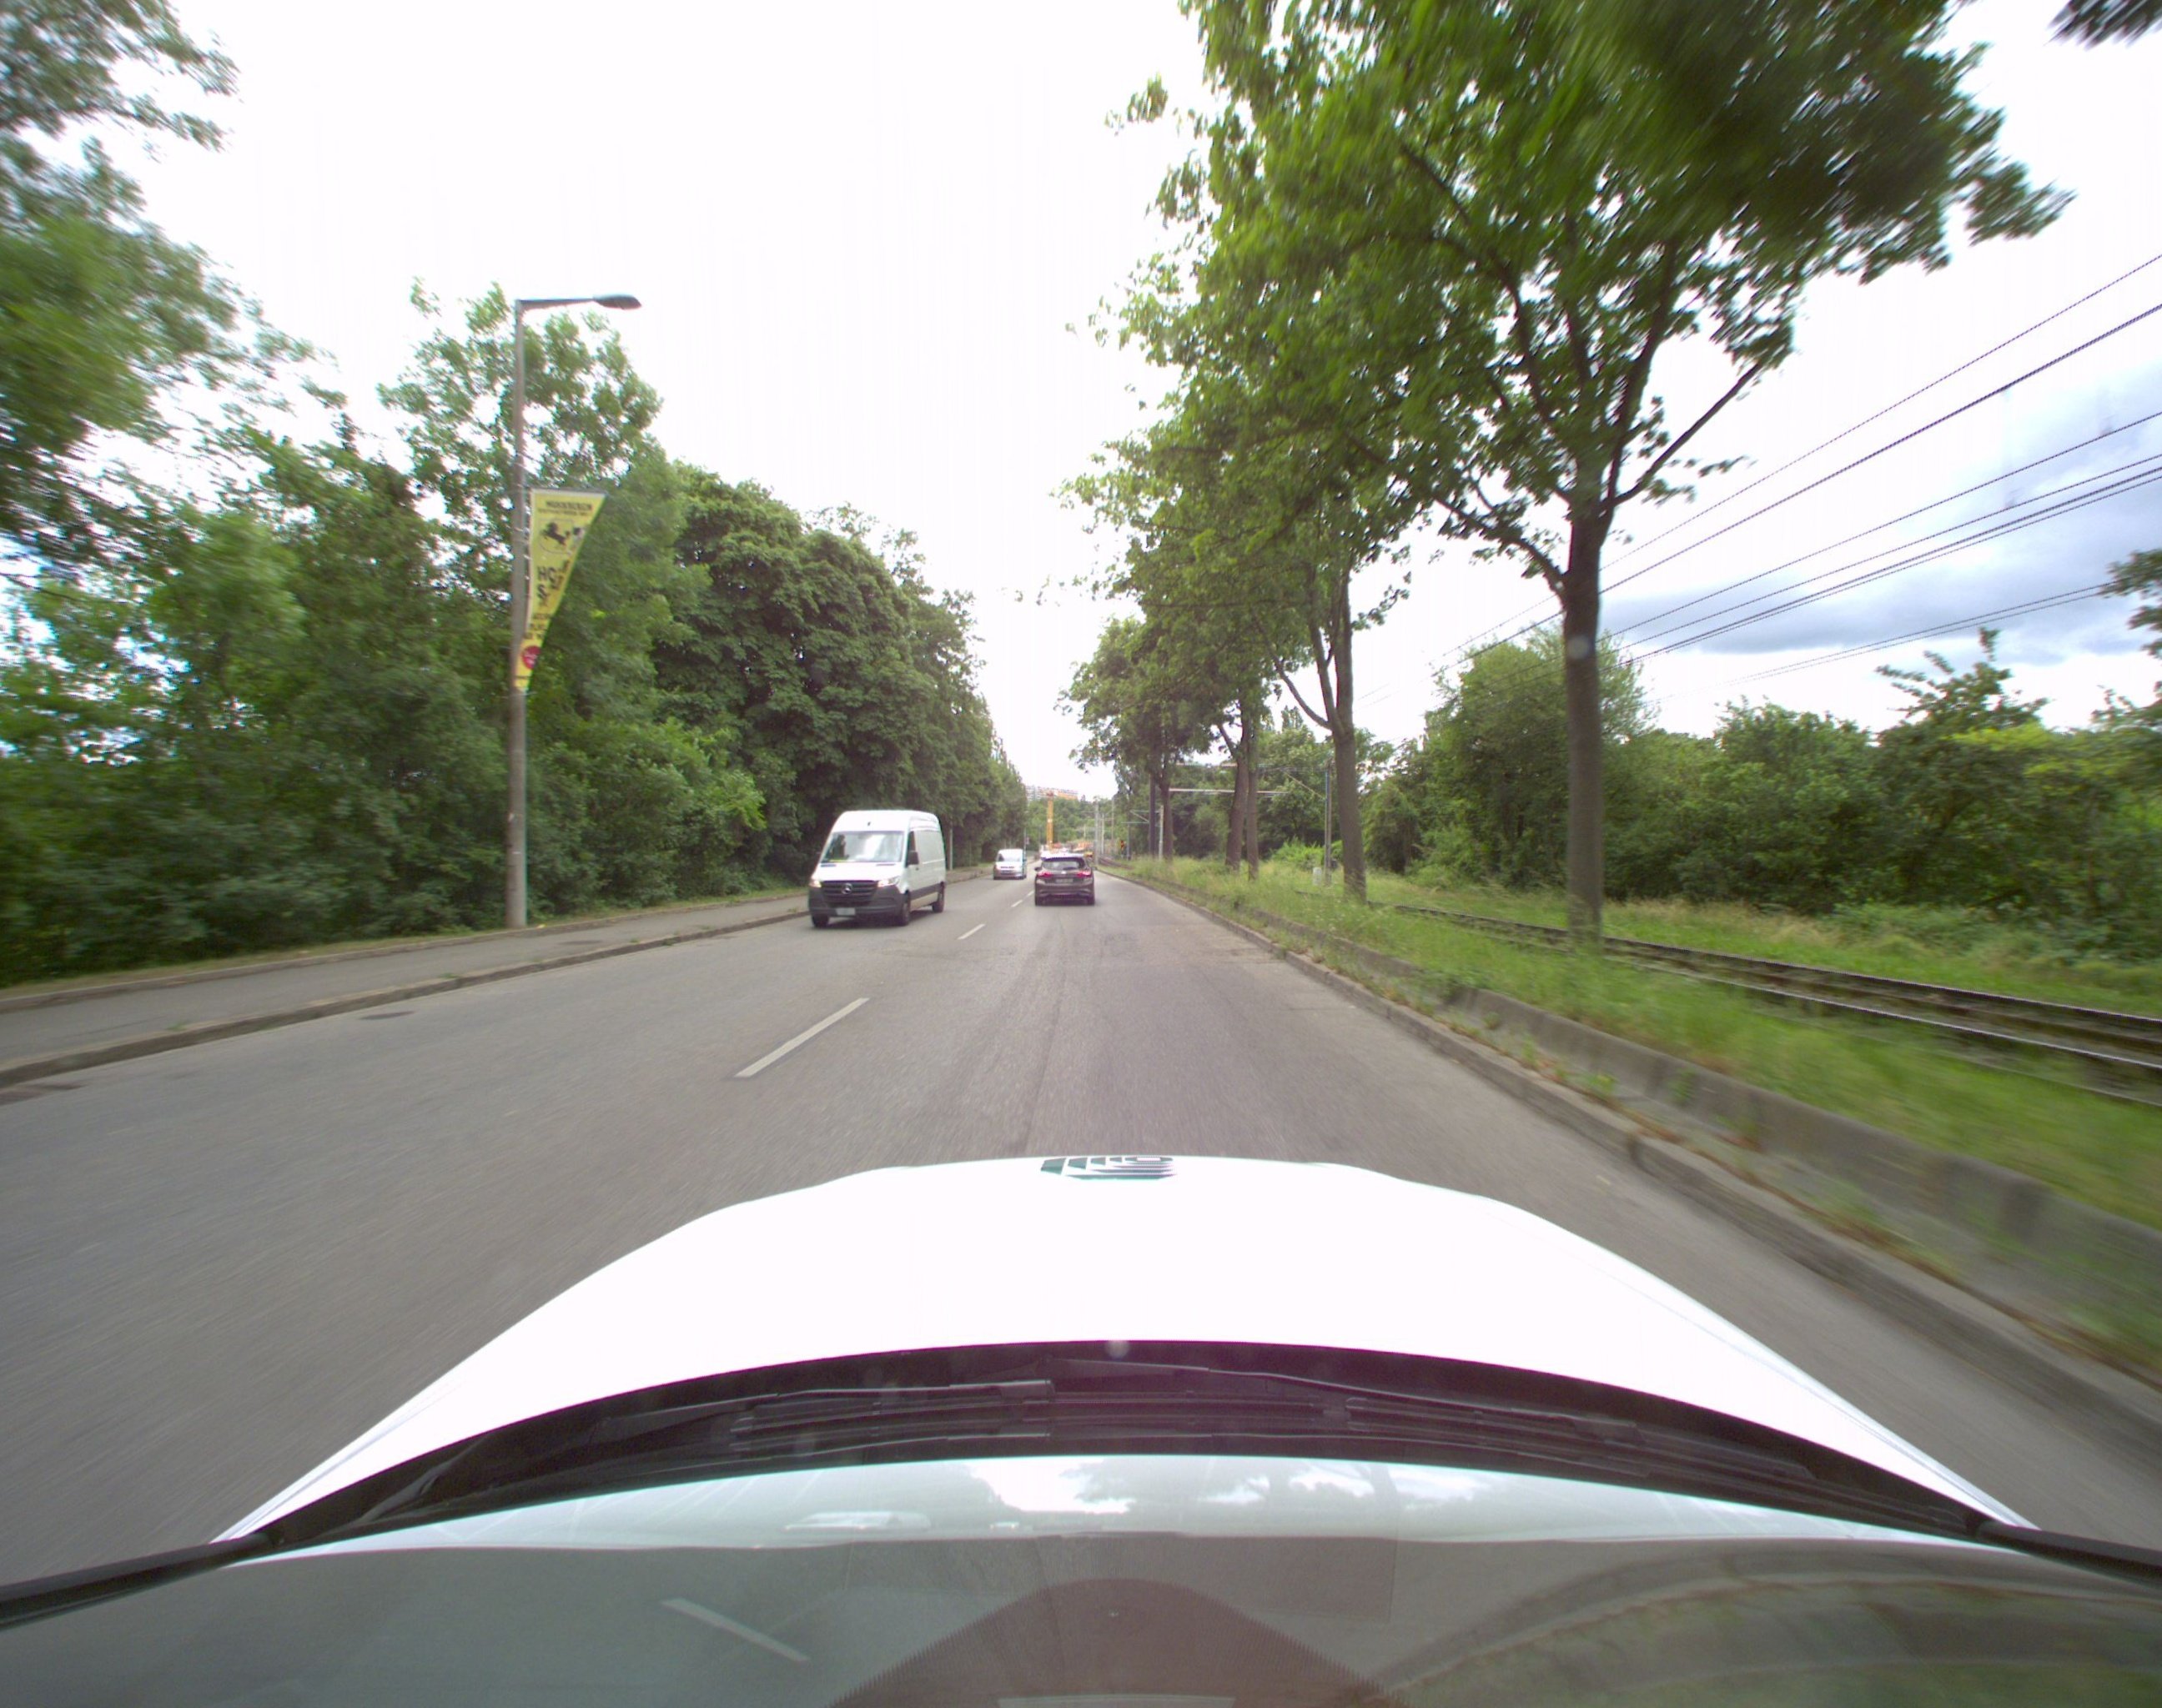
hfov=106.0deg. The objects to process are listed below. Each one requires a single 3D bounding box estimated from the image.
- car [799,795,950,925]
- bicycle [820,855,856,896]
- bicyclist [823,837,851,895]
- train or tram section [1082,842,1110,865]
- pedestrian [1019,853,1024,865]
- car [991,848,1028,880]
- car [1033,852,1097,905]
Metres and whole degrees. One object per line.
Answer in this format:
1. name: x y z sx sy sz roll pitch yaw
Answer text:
1. car: -4.662 0.114 19.451 1.986 2.626 5.896 0 0 1
2. bicycle: -8.327 0.707 27.961 0.697 1.331 2.276 2 0 -5
3. bicyclist: -8.297 0.402 27.697 0.685 1.948 0.834 1 -1 -5
4. train or tram section: 3.956 0.000 221.780 3.028 5.183 22.969 2 -2 -10
5. pedestrian: -8.843 0.786 120.666 0.549 1.765 0.857 4 -1 -2
6. car: -4.311 0.567 49.645 1.851 1.799 4.554 -1 0 -1
7. car: -0.503 0.705 25.173 1.825 1.510 3.998 0 0 -1
